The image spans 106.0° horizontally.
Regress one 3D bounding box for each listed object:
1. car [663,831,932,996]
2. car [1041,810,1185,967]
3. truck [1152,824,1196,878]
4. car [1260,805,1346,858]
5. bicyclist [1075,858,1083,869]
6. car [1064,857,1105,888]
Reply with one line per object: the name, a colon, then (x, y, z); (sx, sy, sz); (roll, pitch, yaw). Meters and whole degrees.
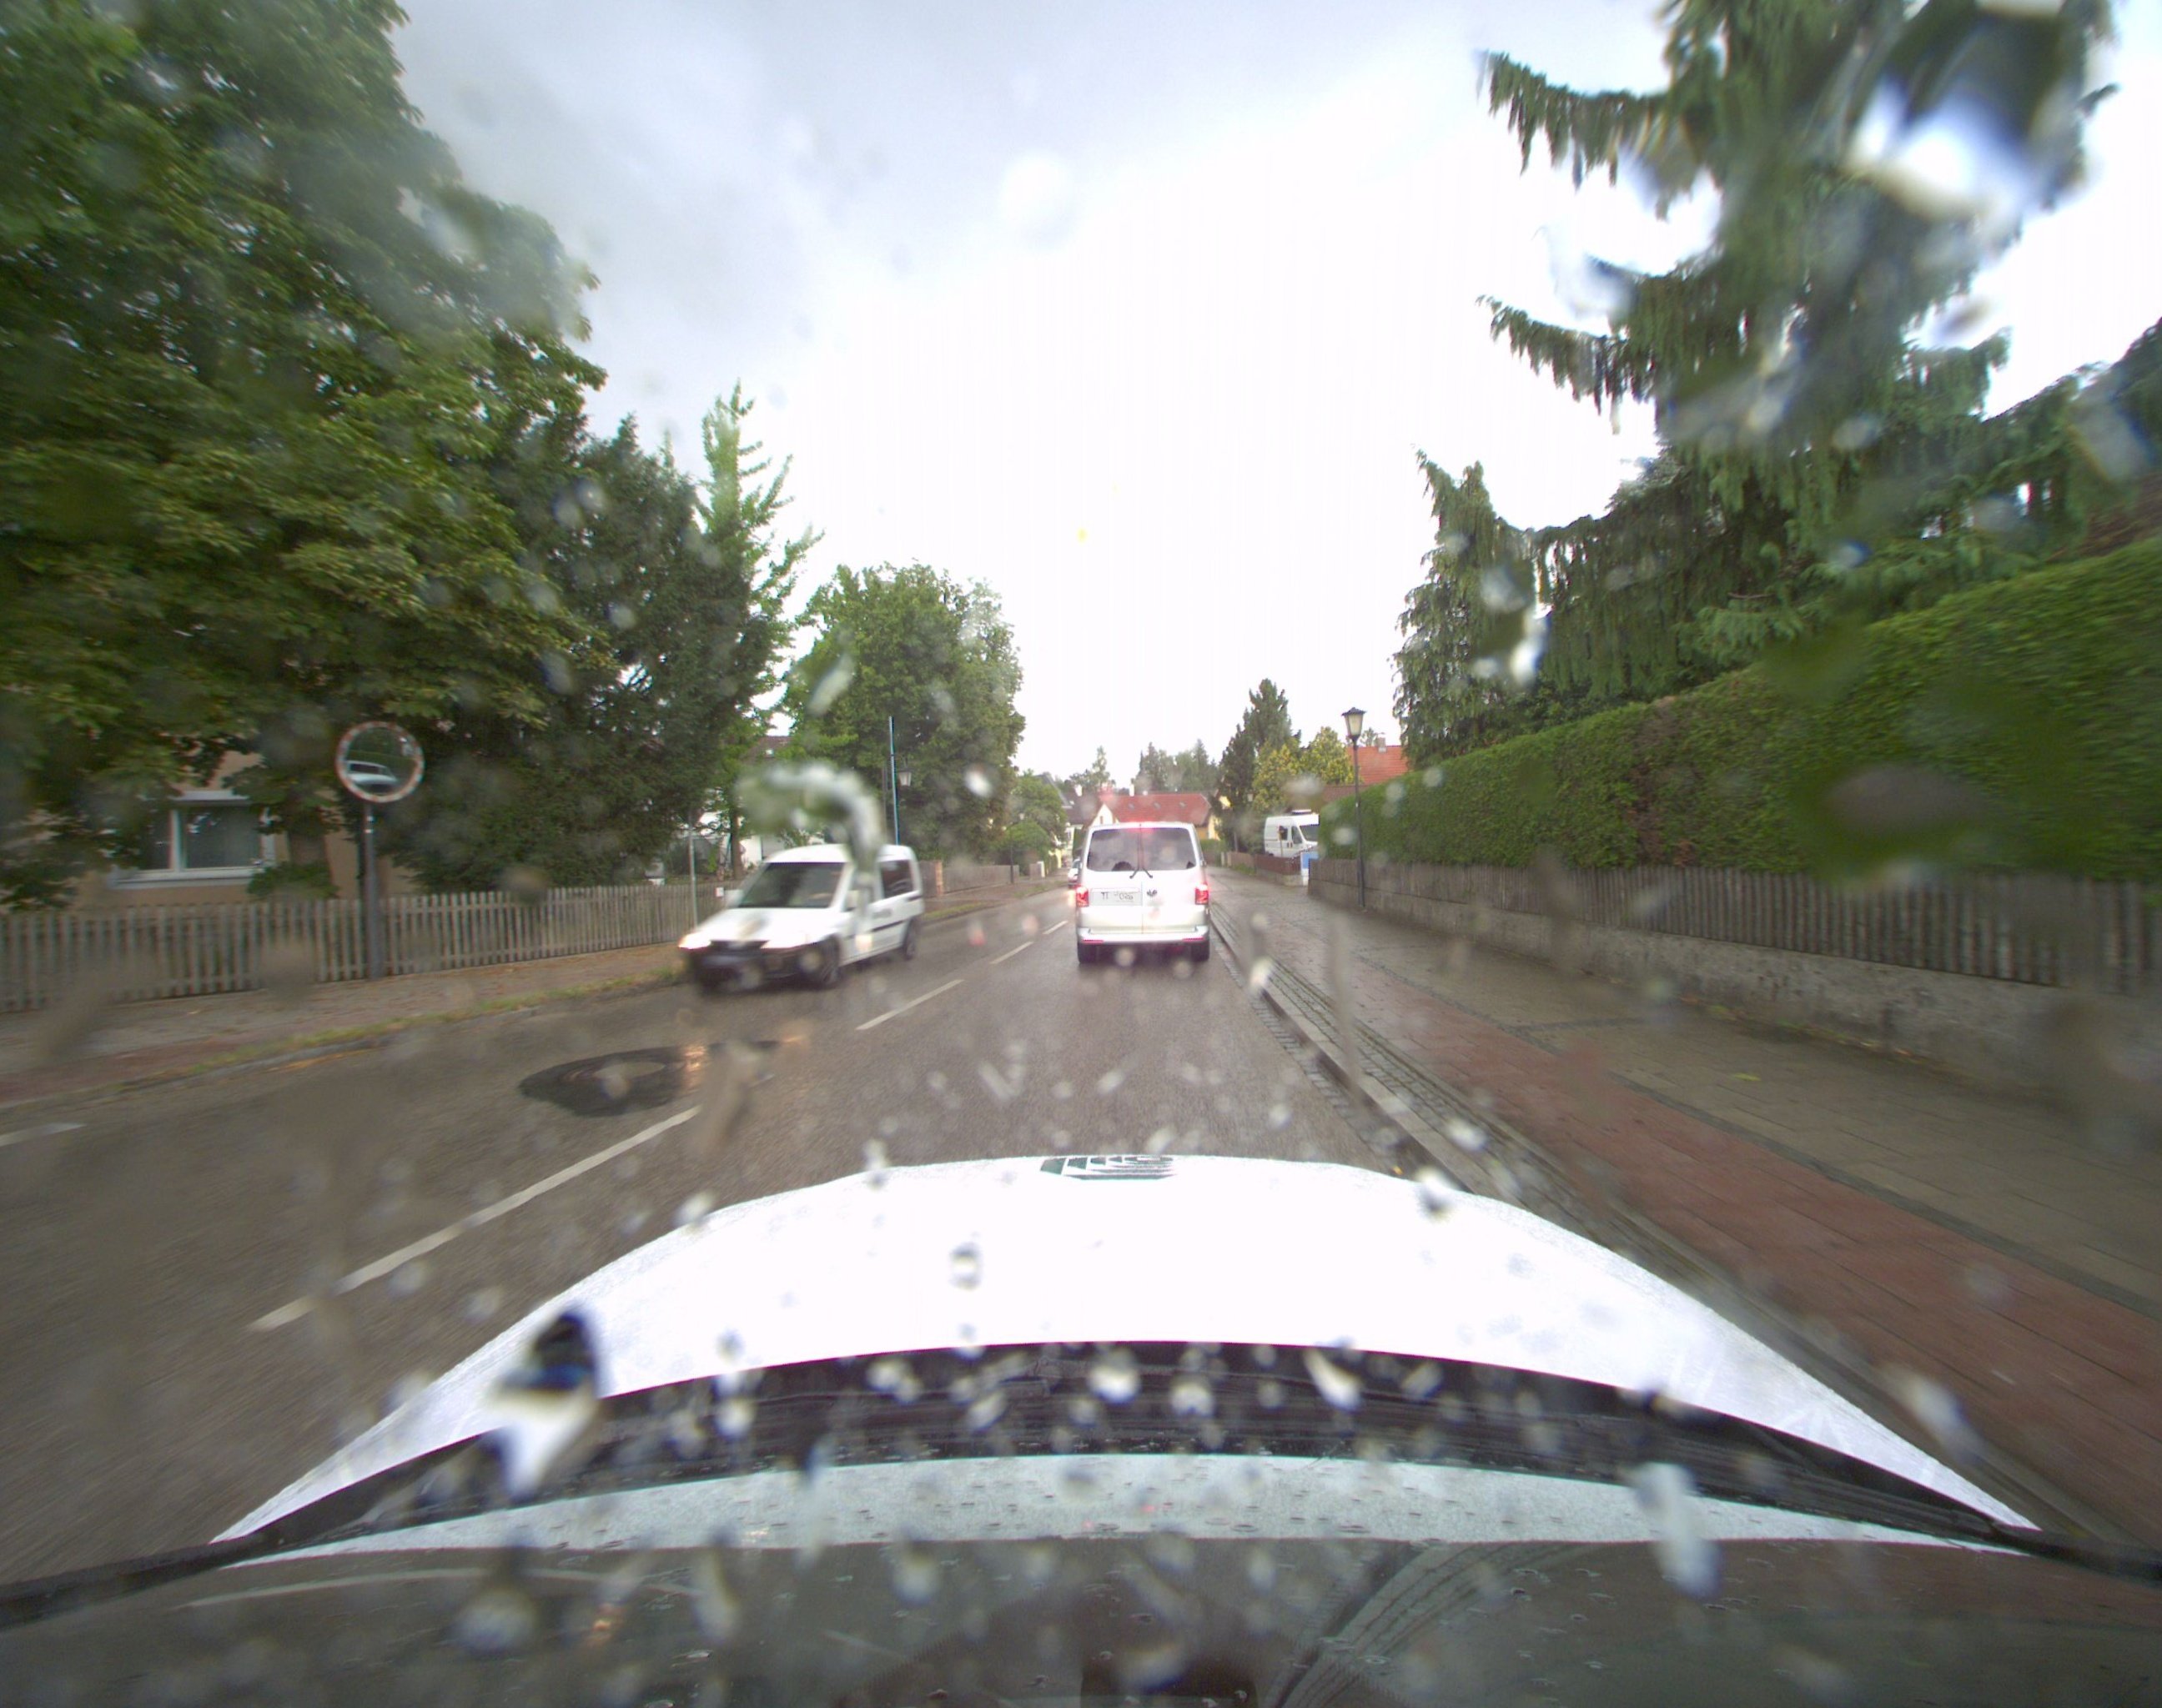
car: (-3.470, 0.669, 10.939); (1.631, 1.765, 4.339); (-1, -1, 7)
car: (0.652, 0.474, 12.531); (1.790, 2.014, 4.009); (-1, -1, 8)
truck: (5.579, -0.124, 49.340); (2.463, 3.074, 6.305); (-1, -1, 5)
car: (9.898, -0.920, 36.725); (1.992, 2.173, 4.939); (0, -1, -8)
bicyclist: (-0.183, 0.894, 76.673); (0.584, 1.021, 1.062); (-2, 0, 5)
car: (0.231, 0.925, 41.542); (1.609, 1.444, 3.678); (-1, -1, 7)
